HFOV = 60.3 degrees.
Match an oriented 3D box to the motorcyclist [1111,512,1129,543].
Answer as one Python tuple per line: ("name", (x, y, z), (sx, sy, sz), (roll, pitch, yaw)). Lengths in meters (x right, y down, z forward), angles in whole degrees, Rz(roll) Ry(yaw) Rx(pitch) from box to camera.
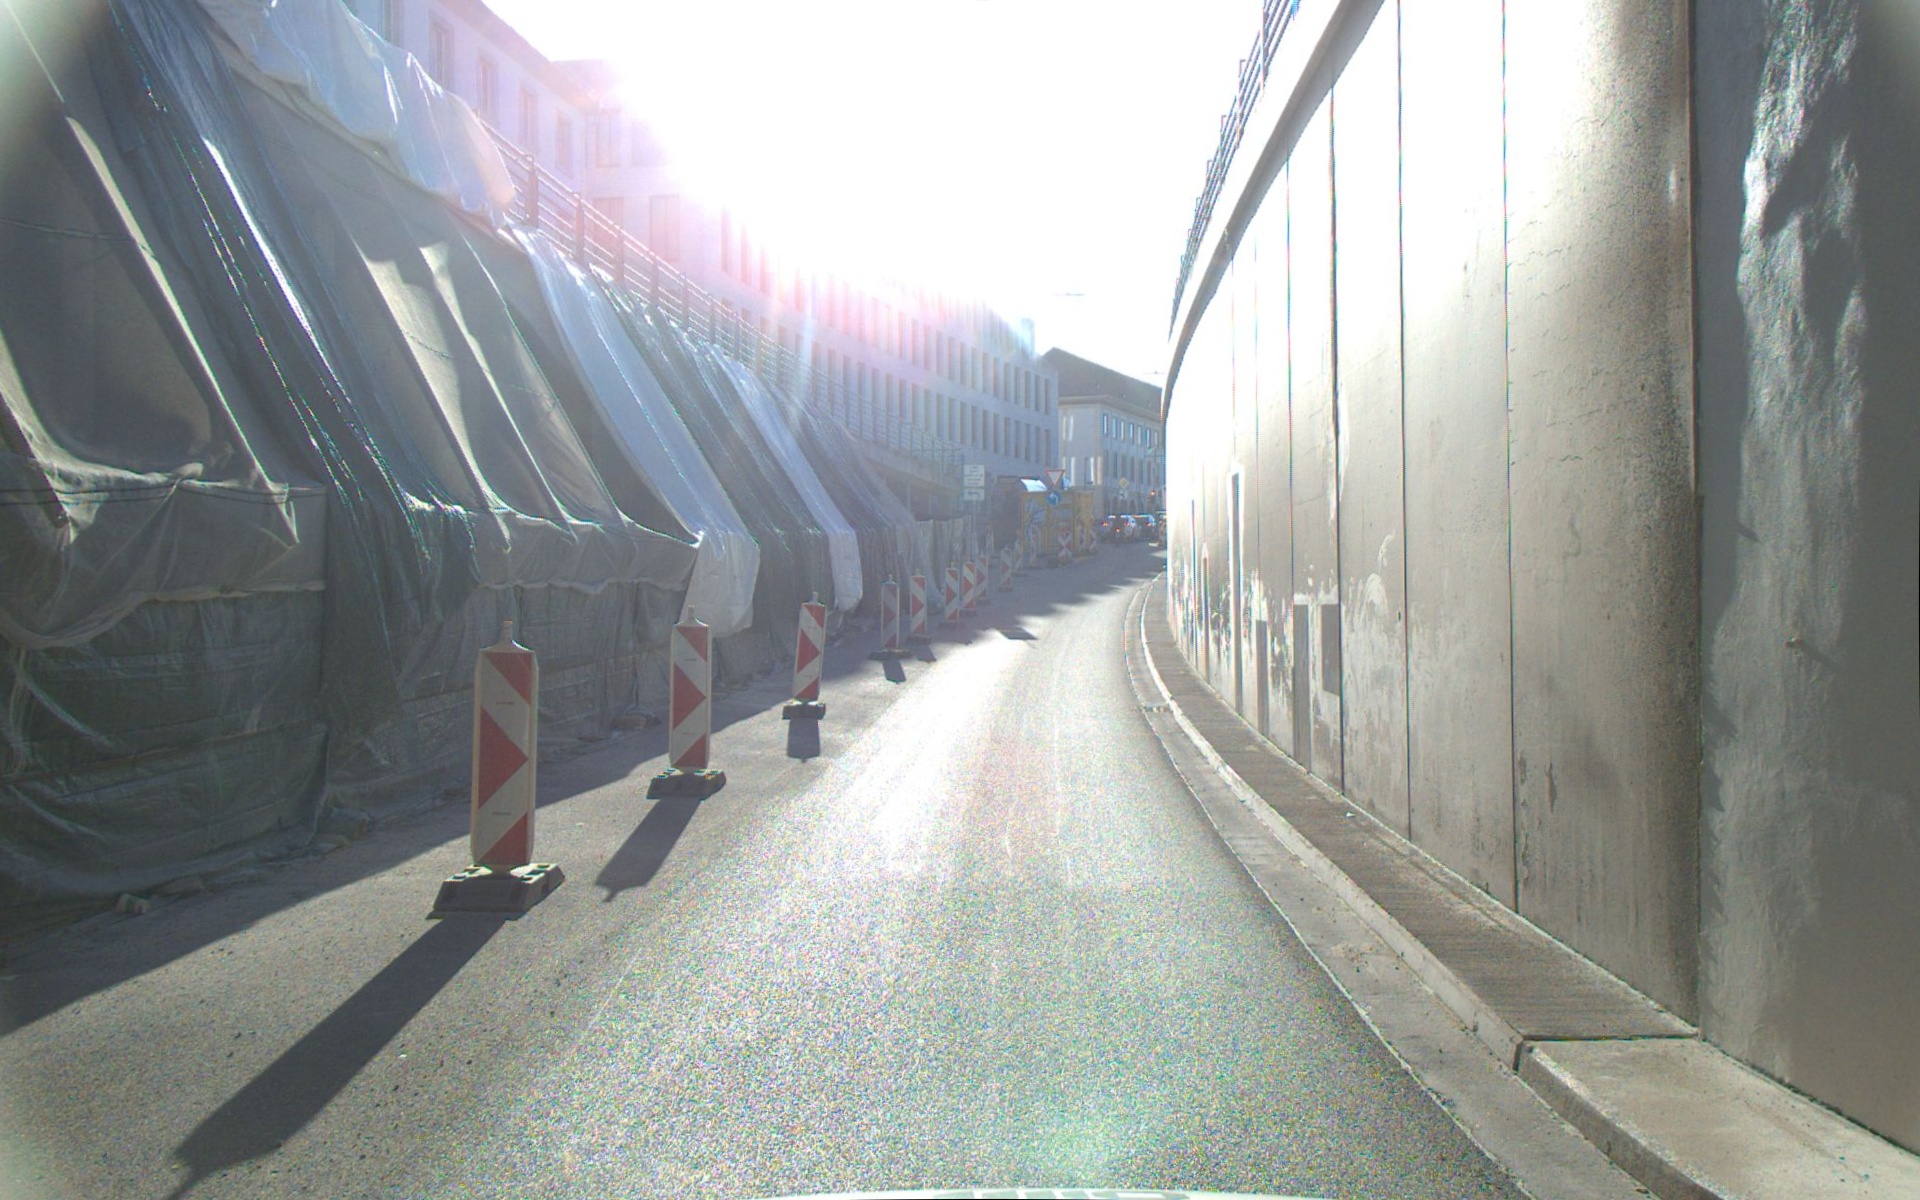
("motorcyclist", (8.215, -3.718, 84.887), (0.787, 1.530, 0.777), (0, -1, 13))

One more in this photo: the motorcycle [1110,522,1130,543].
("motorcycle", (8.222, -3.459, 84.949), (0.755, 1.010, 2.185), (0, 0, 13))

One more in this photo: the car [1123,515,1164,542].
("car", (10.900, -4.260, 97.968), (1.782, 1.560, 4.004), (1, 2, 16))

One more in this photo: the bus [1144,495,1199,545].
("bus", (11.375, -4.294, 88.825), (2.178, 2.601, 4.430), (1, 3, 18))

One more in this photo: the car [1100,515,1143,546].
("car", (8.996, -3.862, 91.940), (1.738, 1.632, 4.004), (1, 2, 15))
